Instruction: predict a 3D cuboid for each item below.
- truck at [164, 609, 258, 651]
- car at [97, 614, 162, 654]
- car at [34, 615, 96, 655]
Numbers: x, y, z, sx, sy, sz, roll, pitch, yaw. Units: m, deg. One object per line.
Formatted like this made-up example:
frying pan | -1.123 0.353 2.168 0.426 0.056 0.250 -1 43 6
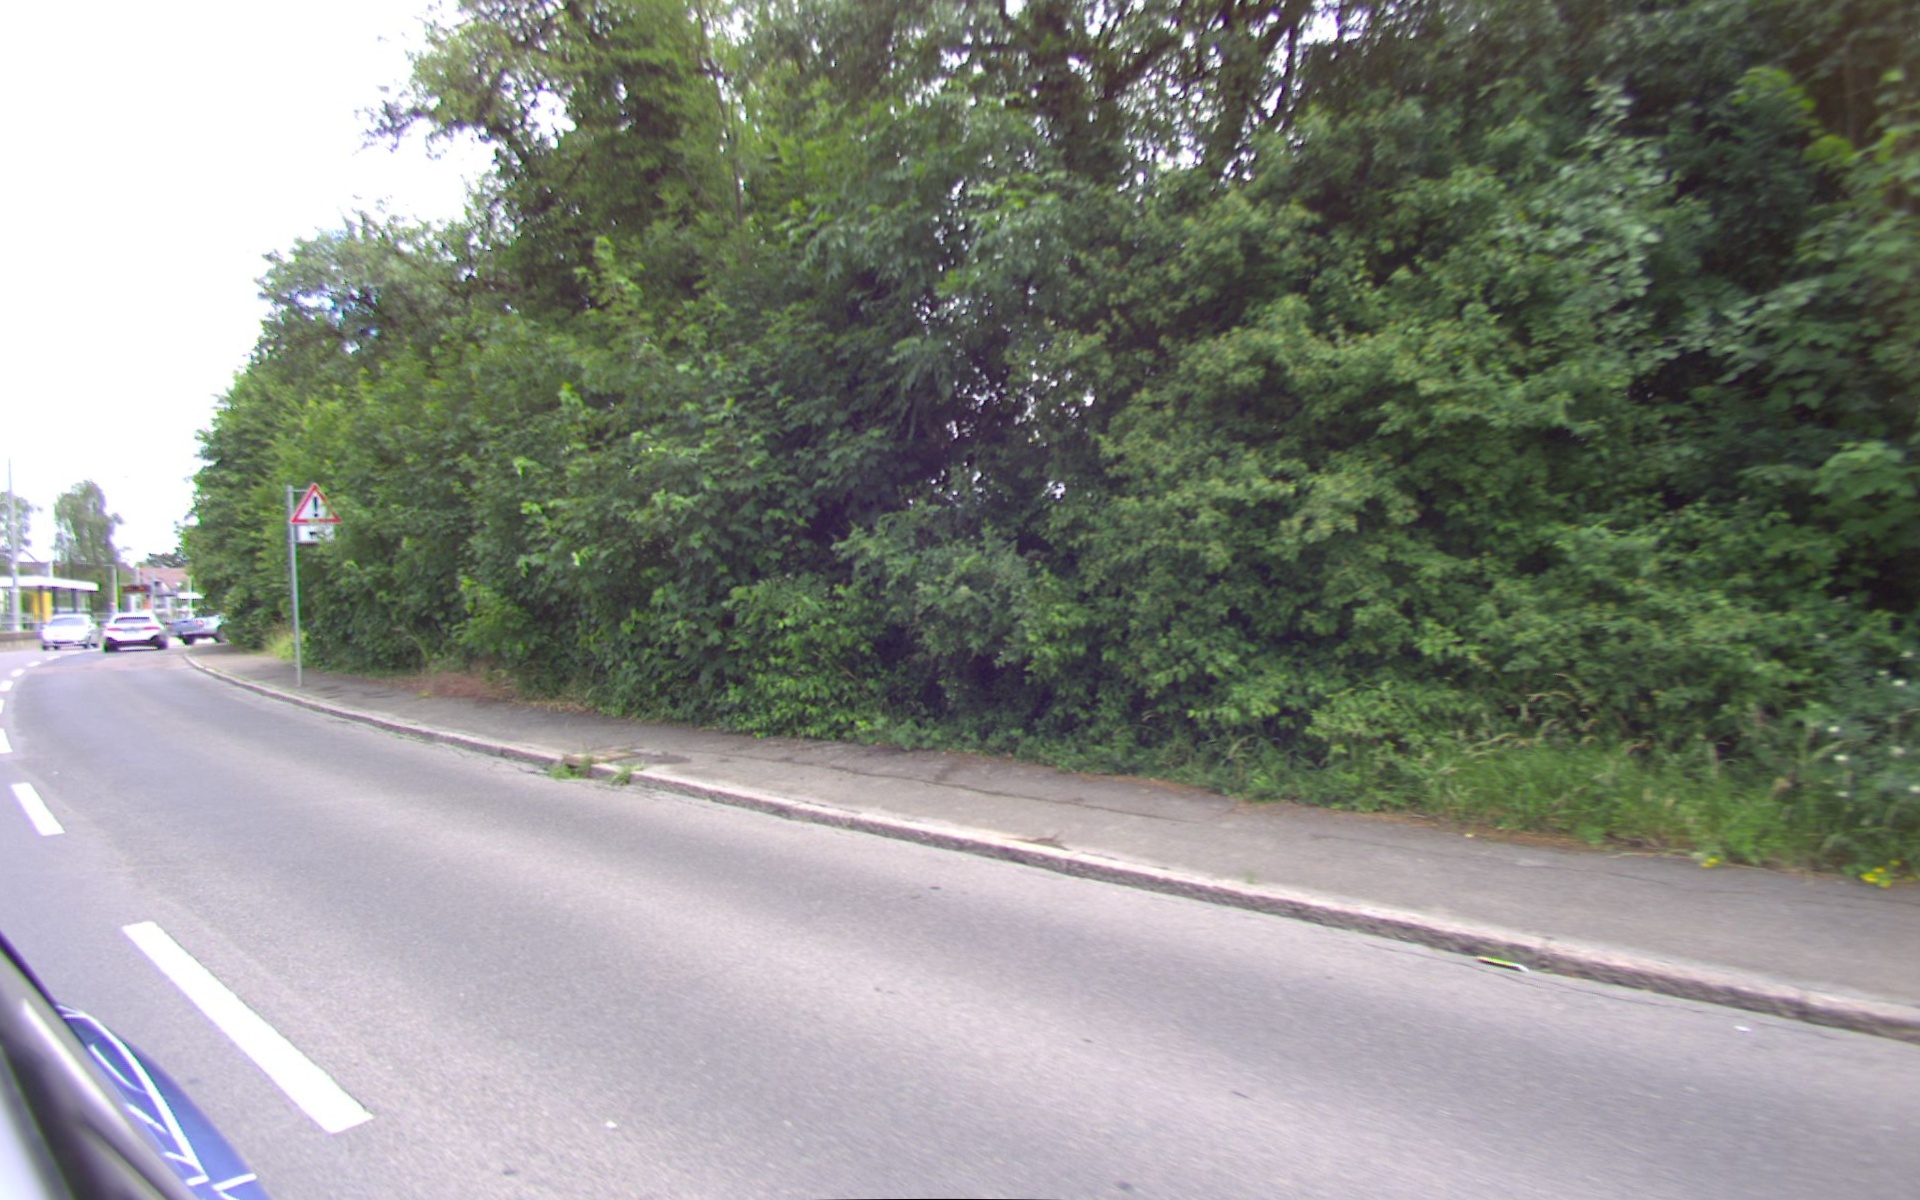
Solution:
truck | -38.501 1.496 52.181 1.824 1.981 4.969 -2 0 -10
car | -33.408 1.332 40.694 1.905 1.533 4.666 1 -1 -40
car | -41.278 1.603 46.736 1.707 1.661 4.235 -3 0 -37
